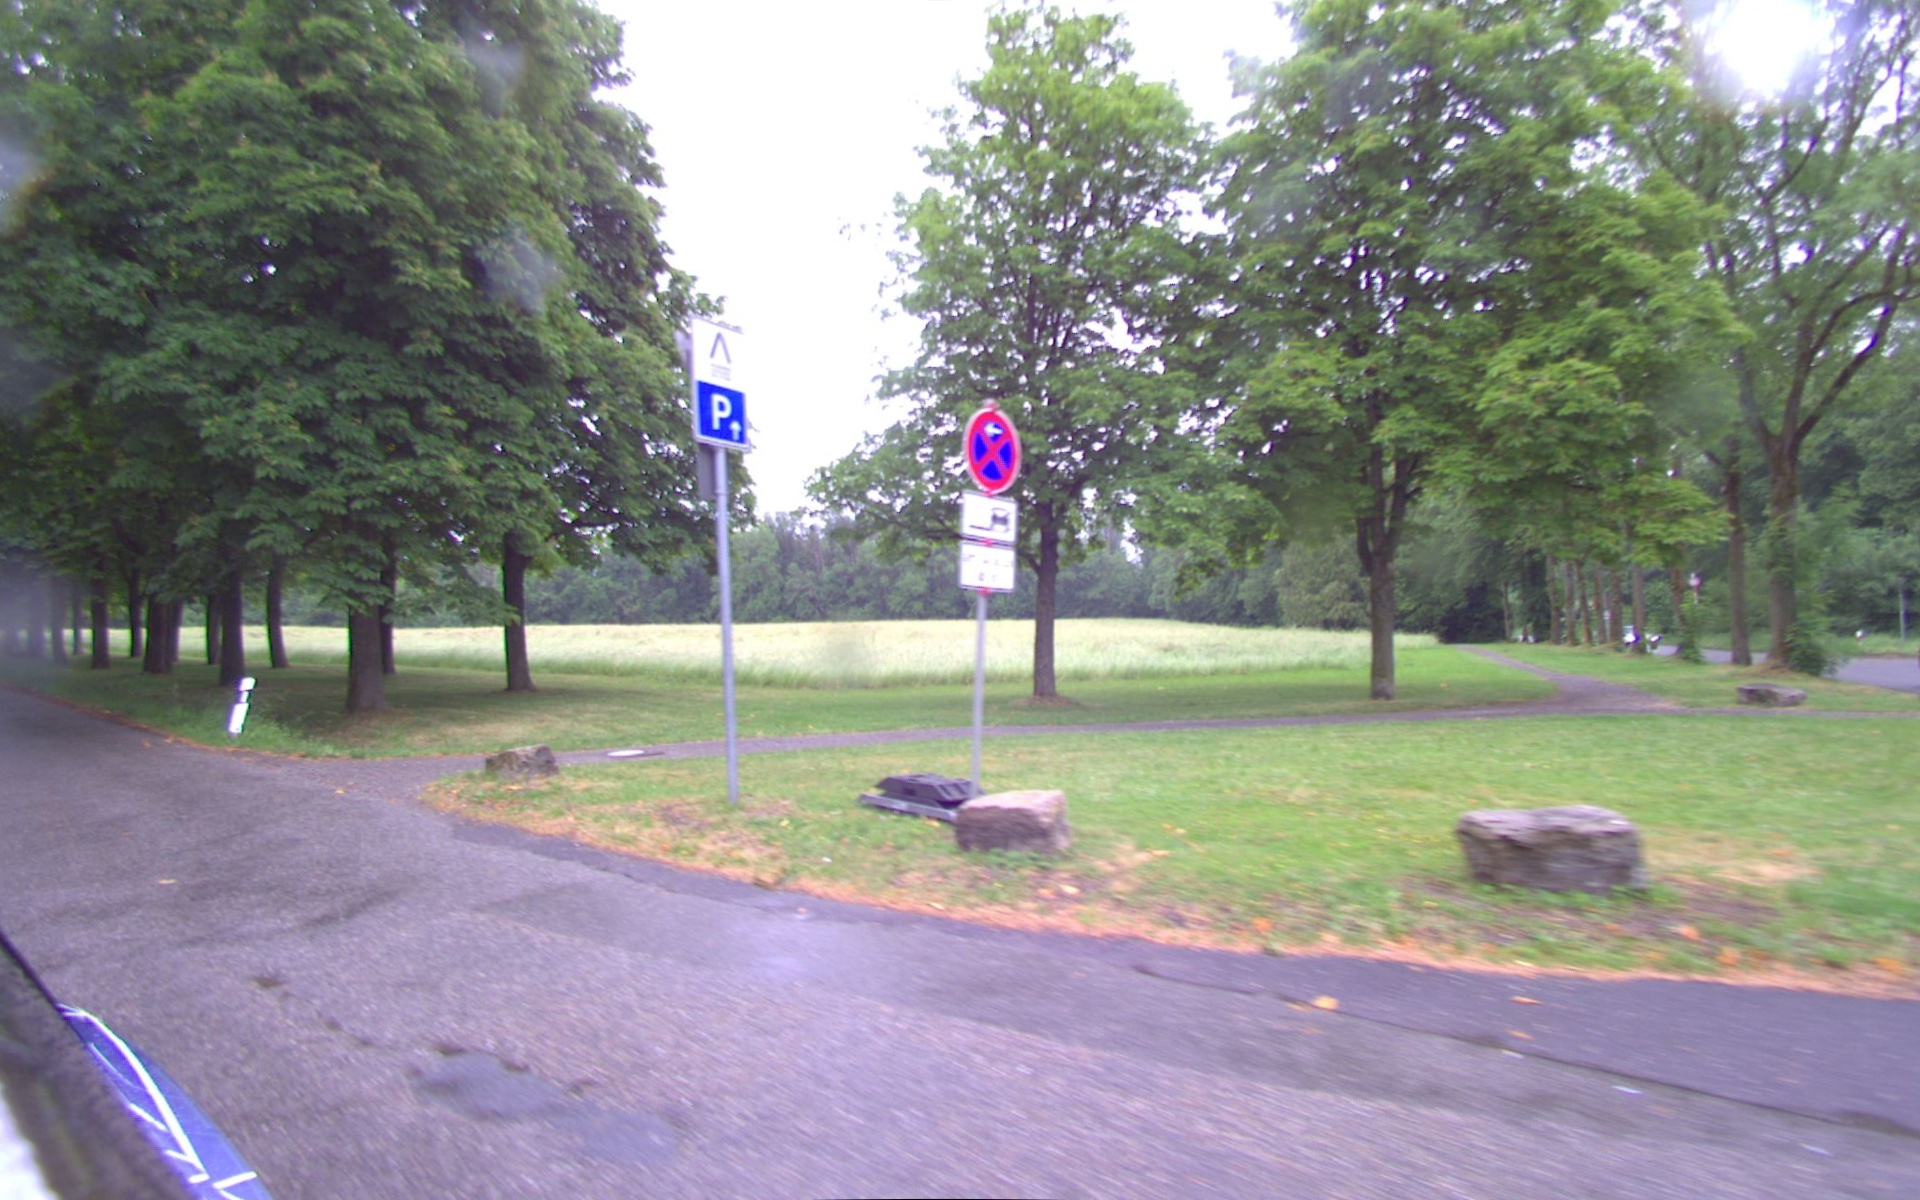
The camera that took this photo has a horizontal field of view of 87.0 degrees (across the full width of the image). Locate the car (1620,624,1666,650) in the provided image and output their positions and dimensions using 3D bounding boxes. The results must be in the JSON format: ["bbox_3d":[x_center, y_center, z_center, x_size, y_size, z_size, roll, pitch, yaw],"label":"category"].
[{"bbox_3d":[41.926,2.266,62.214,1.722,1.494,4.140,-1,-1,26],"label":"car"}]
